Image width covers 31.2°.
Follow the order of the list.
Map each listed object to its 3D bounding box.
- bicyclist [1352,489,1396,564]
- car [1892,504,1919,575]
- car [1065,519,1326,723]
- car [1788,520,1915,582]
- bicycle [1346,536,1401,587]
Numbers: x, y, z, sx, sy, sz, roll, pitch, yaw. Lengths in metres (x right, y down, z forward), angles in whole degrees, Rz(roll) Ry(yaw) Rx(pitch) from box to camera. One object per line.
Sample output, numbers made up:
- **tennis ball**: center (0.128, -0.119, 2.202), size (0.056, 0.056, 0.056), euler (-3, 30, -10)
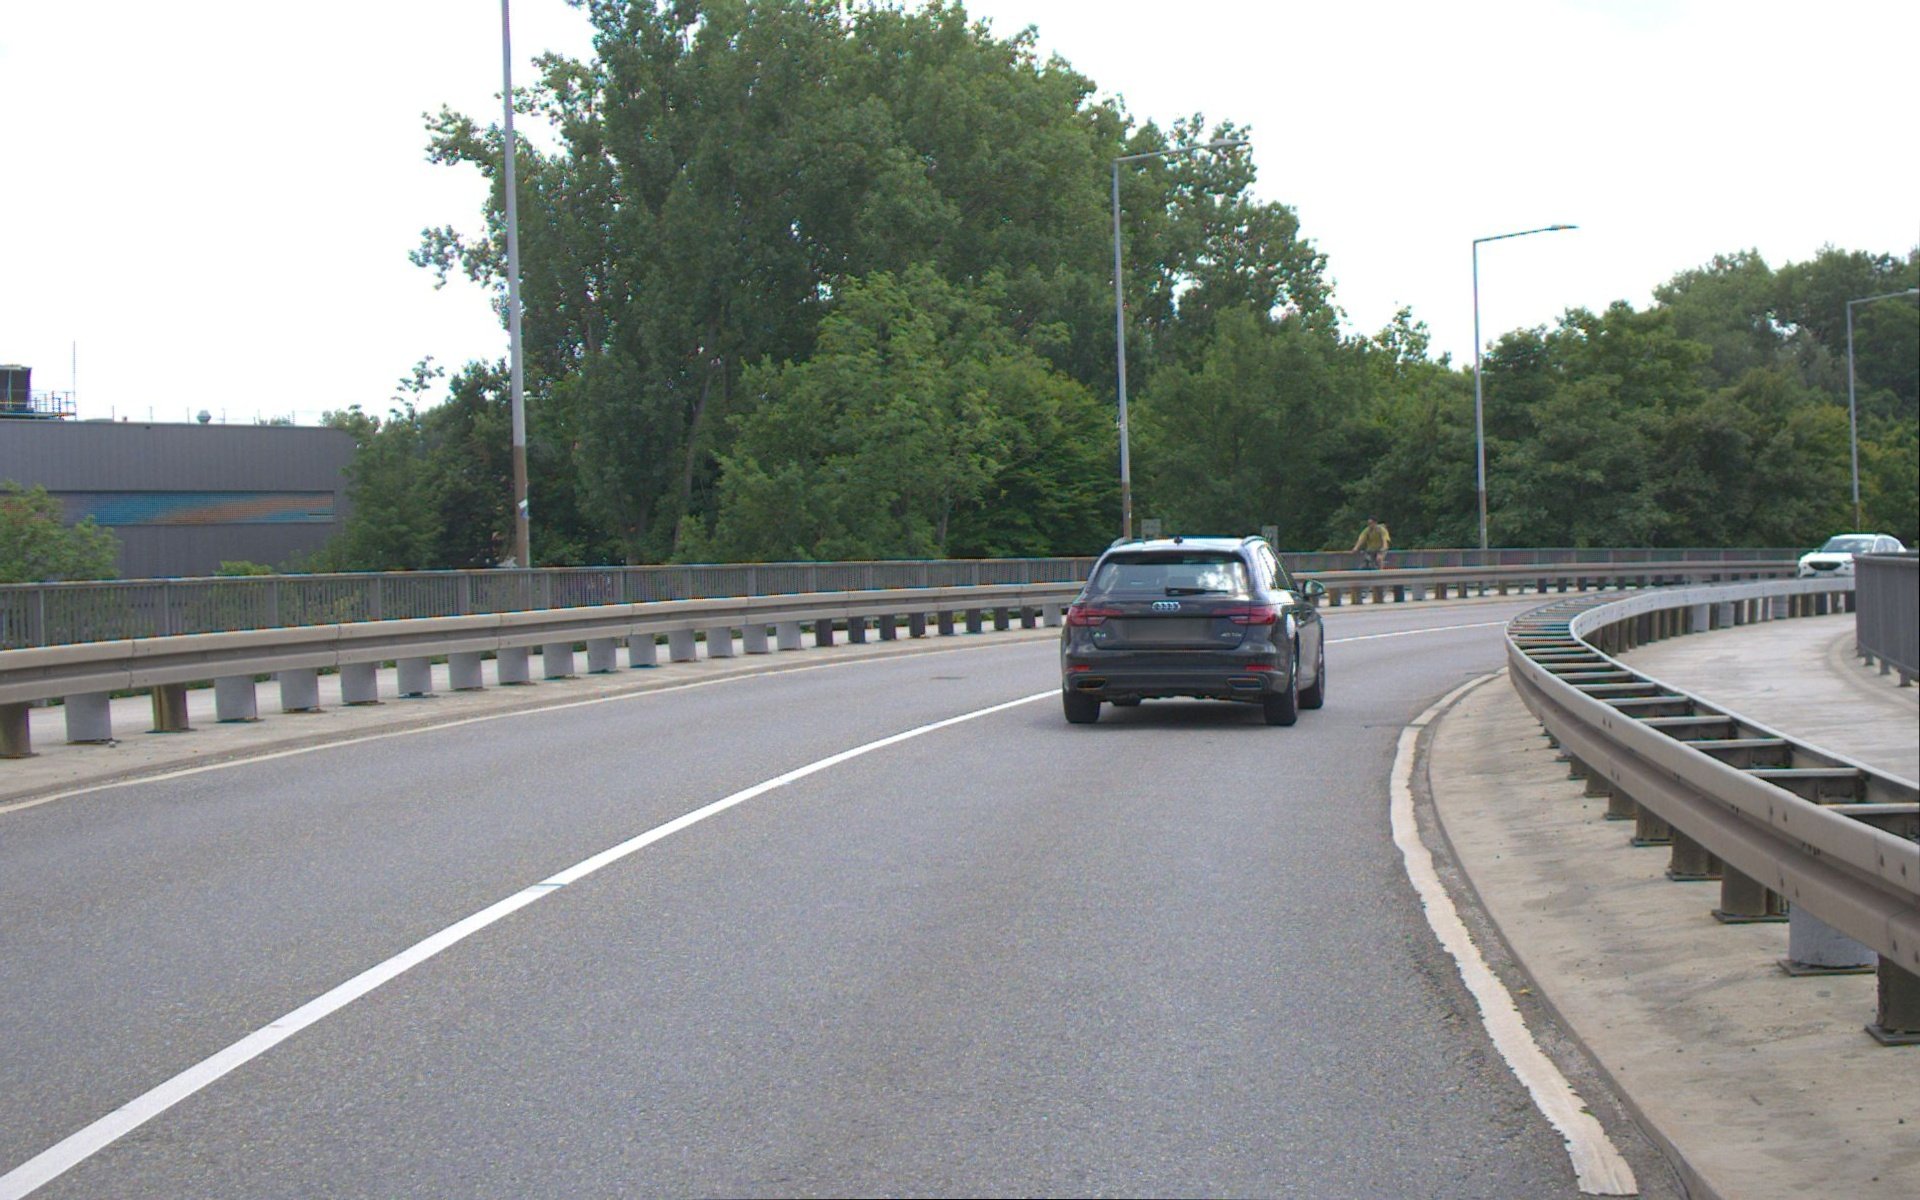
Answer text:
- **bicyclist**: center (8.947, -1.582, 74.294), size (0.767, 1.597, 0.947), euler (0, 1, 18)
- **car**: center (23.788, -1.414, 80.952), size (3.845, 1.646, 1.826), euler (-1, 3, -44)
- **car**: center (1.950, 0.148, 27.356), size (1.828, 1.486, 4.205), euler (0, 0, 7)
- **car**: center (22.874, -1.277, 88.114), size (1.810, 1.529, 4.340), euler (1, 2, 34)
- **bicycle**: center (8.925, -0.830, 74.220), size (0.769, 1.091, 2.113), euler (0, 1, 18)
